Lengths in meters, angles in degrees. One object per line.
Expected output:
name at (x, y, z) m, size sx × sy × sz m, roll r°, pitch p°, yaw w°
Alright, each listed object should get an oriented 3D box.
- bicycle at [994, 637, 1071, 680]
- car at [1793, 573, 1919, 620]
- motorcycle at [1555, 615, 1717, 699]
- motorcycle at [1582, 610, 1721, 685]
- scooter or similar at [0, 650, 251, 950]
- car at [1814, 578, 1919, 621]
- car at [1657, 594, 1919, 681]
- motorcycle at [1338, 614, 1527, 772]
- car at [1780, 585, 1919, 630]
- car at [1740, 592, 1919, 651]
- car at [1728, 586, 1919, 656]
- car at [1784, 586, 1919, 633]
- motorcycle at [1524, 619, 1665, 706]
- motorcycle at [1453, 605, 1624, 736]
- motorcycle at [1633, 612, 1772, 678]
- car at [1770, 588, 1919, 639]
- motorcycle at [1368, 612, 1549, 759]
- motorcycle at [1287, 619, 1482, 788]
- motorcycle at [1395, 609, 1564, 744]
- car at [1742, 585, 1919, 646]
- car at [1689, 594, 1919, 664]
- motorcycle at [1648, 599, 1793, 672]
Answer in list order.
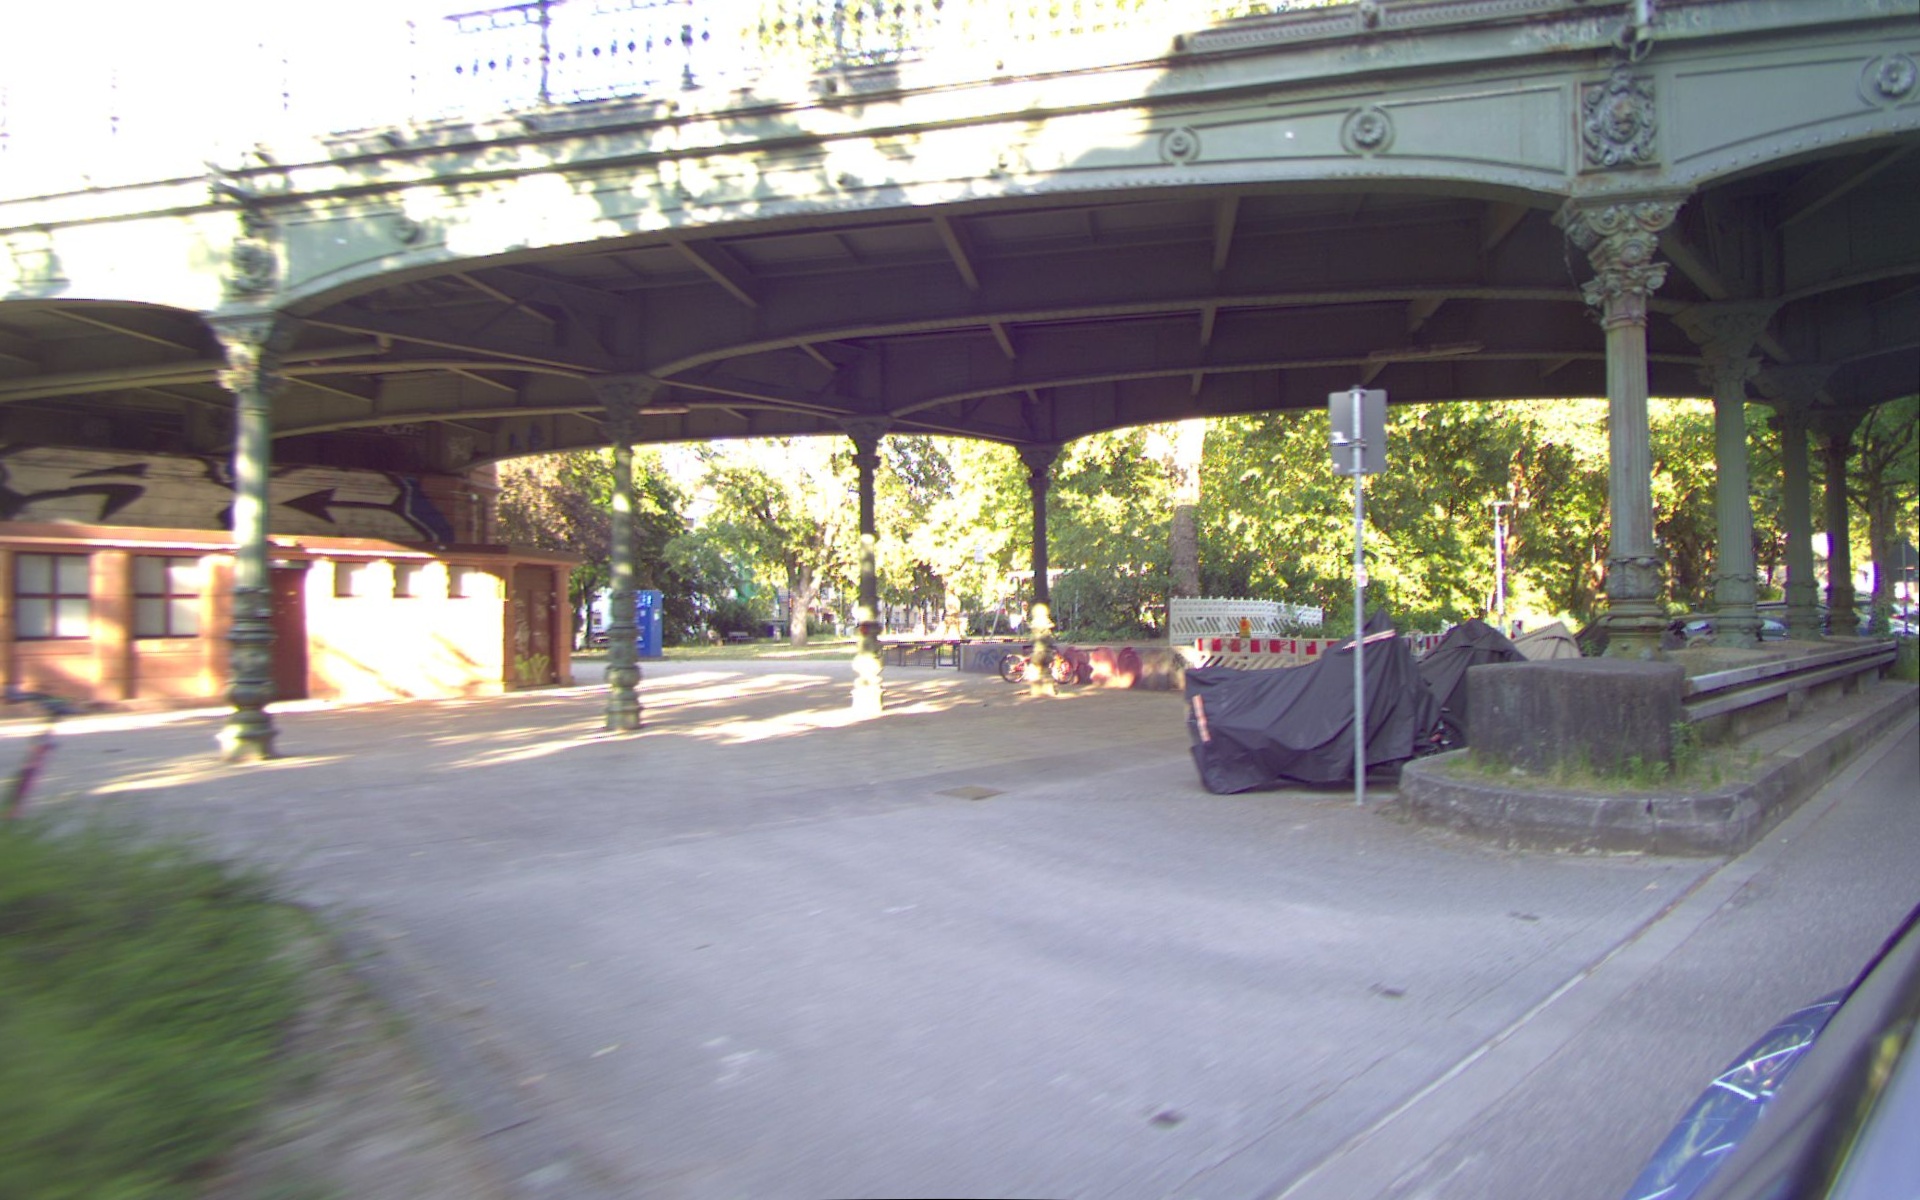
bicycle at (1.585, 1.263, 22.025) m, size 1.592 × 0.869 × 0.521 m, roll 1°, pitch 0°, yaw 16°
car at (39.218, -0.180, 43.825) m, size 1.842 × 1.949 × 4.674 m, roll -2°, pitch 2°, yaw -44°
motorcycle at (9.951, 0.837, 14.991) m, size 1.817 × 1.147 × 0.844 m, roll -3°, pitch -1°, yaw 24°
motorcycle at (11.434, 0.788, 16.793) m, size 1.700 × 1.147 × 0.709 m, roll -3°, pitch -1°, yaw 13°
scooter or similar at (-4.357, 0.947, 5.028) m, size 1.302 × 1.315 × 0.478 m, roll -2°, pitch -2°, yaw -41°
car at (41.188, -0.025, 45.449) m, size 1.767 × 1.780 × 3.994 m, roll -2°, pitch -1°, yaw -39°
car at (17.195, 0.787, 20.863) m, size 1.647 × 1.597 × 4.375 m, roll -2°, pitch -1°, yaw -44°
motorcycle at (4.726, 0.888, 10.250) m, size 0.698 × 1.426 × 1.607 m, roll -2°, pitch -1°, yaw -23°
car at (35.719, 0.332, 40.673) m, size 1.637 × 1.594 × 3.992 m, roll -2°, pitch -1°, yaw -41°
car at (25.789, 0.640, 29.653) m, size 1.846 × 1.552 × 4.375 m, roll -2°, pitch -1°, yaw -44°
car at (24.045, 0.596, 27.900) m, size 4.371 × 1.730 × 1.878 m, roll -4°, pitch -1°, yaw 43°
car at (34.292, 0.376, 38.795) m, size 1.561 × 1.594 × 3.987 m, roll -2°, pitch -1°, yaw -44°
motorcycle at (8.903, 0.878, 14.268) m, size 1.591 × 1.147 × 0.705 m, roll -3°, pitch -1°, yaw 31°
motorcycle at (6.867, 0.809, 12.105) m, size 0.698 × 1.426 × 1.607 m, roll -2°, pitch -1°, yaw -23°
motorcycle at (12.910, 0.780, 17.652) m, size 1.700 × 1.043 × 0.809 m, roll -3°, pitch -1°, yaw 13°
car at (30.820, 0.496, 35.108) m, size 1.561 × 1.594 × 4.021 m, roll -2°, pitch -1°, yaw -44°
motorcycle at (5.306, 0.869, 10.882) m, size 0.698 × 1.426 × 1.607 m, roll -2°, pitch -1°, yaw -23°
motorcycle at (3.968, 0.917, 9.604) m, size 0.698 × 1.426 × 1.607 m, roll -2°, pitch -1°, yaw -23°
motorcycle at (5.980, 0.847, 11.749) m, size 0.698 × 1.426 × 1.607 m, roll -2°, pitch -1°, yaw -23°
car at (27.437, 0.503, 31.580) m, size 1.877 × 1.717 × 4.533 m, roll -2°, pitch -1°, yaw -44°
car at (21.946, 0.731, 26.276) m, size 1.704 × 1.626 × 4.595 m, roll -2°, pitch 0°, yaw -39°
motorcycle at (14.091, 0.650, 18.823) m, size 1.913 × 1.254 × 0.898 m, roll -3°, pitch -1°, yaw 22°
